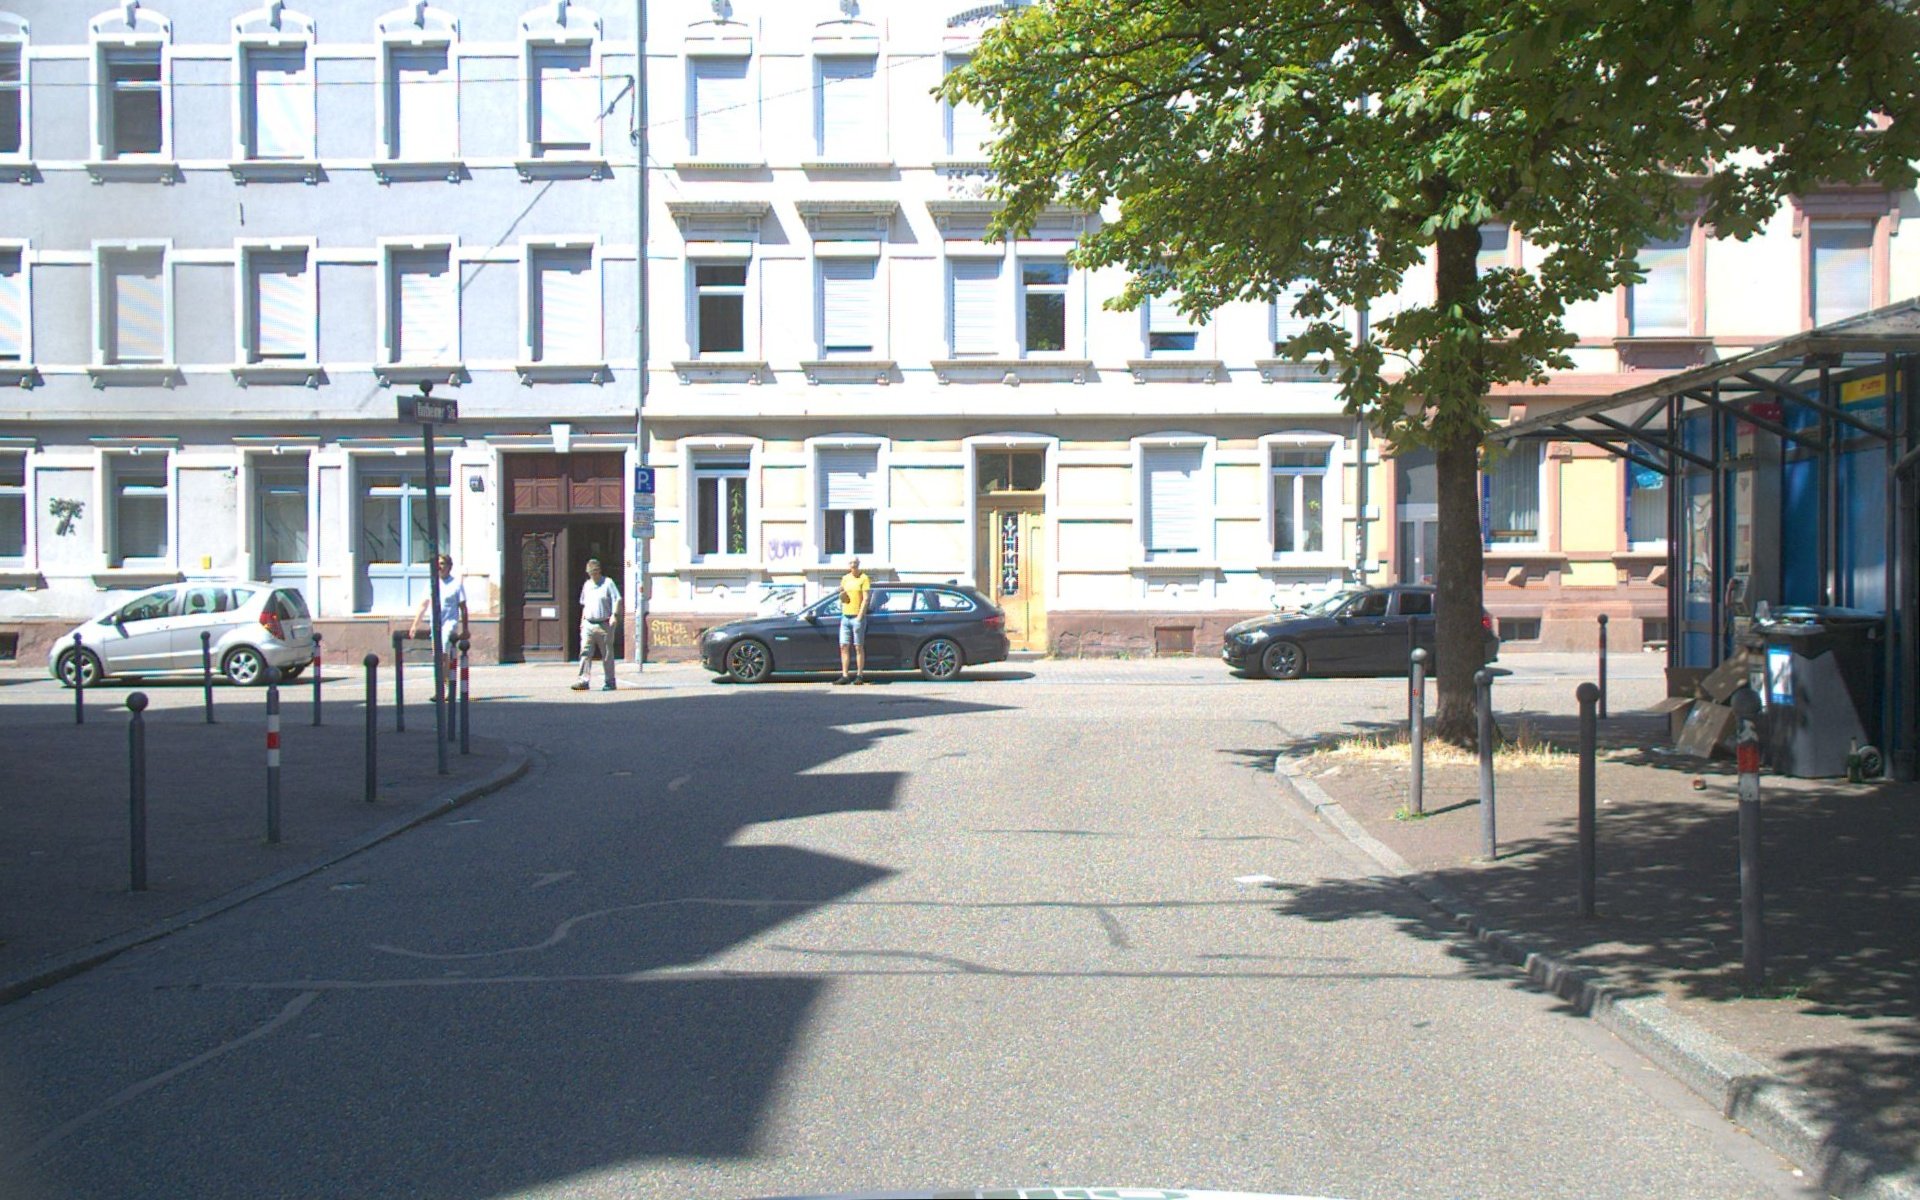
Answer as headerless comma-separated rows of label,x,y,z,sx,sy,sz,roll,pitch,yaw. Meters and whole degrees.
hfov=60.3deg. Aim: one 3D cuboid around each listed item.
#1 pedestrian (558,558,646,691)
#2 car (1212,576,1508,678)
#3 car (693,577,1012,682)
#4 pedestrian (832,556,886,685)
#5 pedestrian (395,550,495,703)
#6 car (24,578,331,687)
pedestrian,-5.076,0.339,23.497,0.882,1.845,0.961,-1,0,11
car,6.173,0.395,25.855,4.206,1.394,1.808,-1,3,0
car,-1.597,0.440,25.785,4.759,1.462,2.000,-1,0,0
pedestrian,-1.511,0.300,24.671,0.711,1.886,0.683,-1,0,-9
pedestrian,-6.604,0.333,21.239,0.832,1.922,0.936,-1,0,14
car,-12.310,0.495,26.207,3.964,1.589,1.807,-1,0,-1
